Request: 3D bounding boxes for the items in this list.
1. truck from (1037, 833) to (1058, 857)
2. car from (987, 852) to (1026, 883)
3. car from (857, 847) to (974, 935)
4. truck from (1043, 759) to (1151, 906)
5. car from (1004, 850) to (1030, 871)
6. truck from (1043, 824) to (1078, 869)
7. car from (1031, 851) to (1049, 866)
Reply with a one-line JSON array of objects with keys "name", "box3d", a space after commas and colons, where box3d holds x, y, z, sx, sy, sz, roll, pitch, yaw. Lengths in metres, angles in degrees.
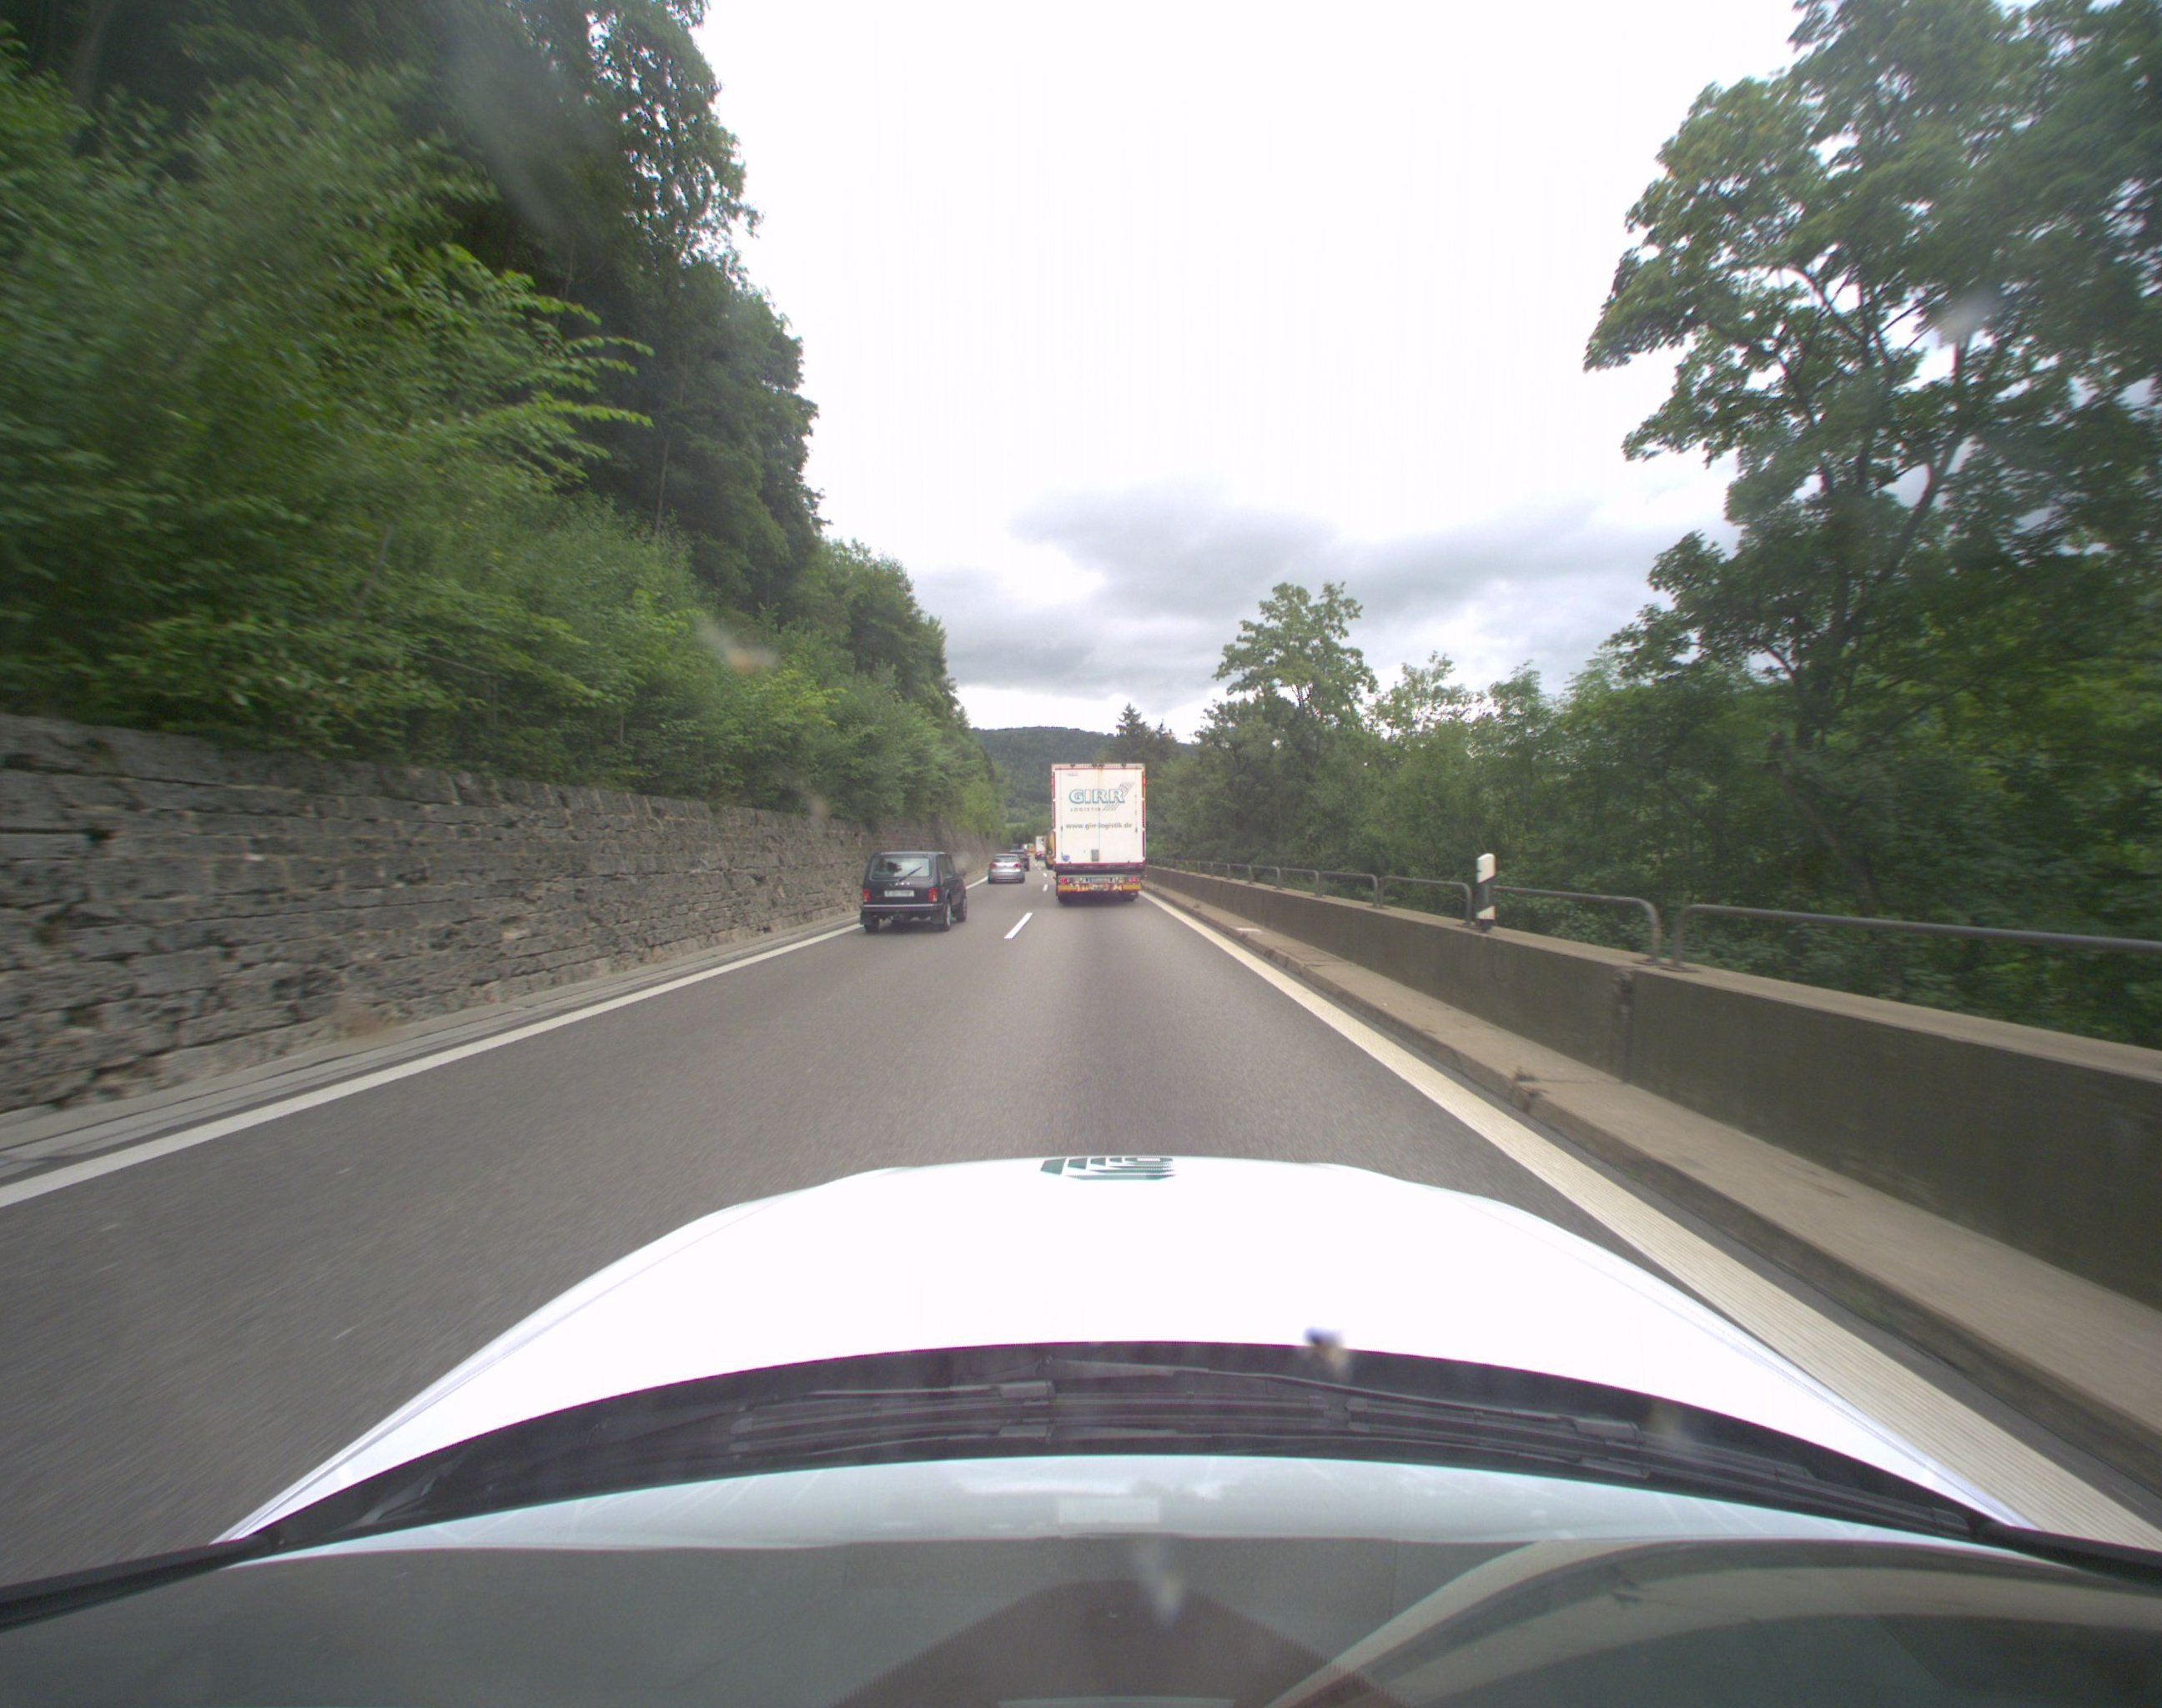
[{"name": "truck", "box3d": [-5.741, -1.524, 140.284, 3.501, 3.847, 11.767, 0, -1, -2]}, {"name": "car", "box3d": [-3.734, 0.677, 41.297, 1.725, 1.486, 3.996, 0, 0, -2]}, {"name": "car", "box3d": [-3.381, 0.710, 17.341, 1.664, 1.639, 4.067, 0, 0, 0]}, {"name": "truck", "box3d": [0.482, -0.584, 26.695, 2.899, 3.960, 9.279, 0, 0, 1]}, {"name": "car", "box3d": [-4.962, 0.494, 63.080, 1.913, 1.595, 4.172, 0, 0, -4]}, {"name": "truck", "box3d": [-1.848, -0.602, 69.443, 2.482, 3.571, 9.293, 0, 0, -4]}, {"name": "car", "box3d": [-5.760, 0.610, 114.538, 1.985, 2.014, 4.004, 0, -1, 4]}]
